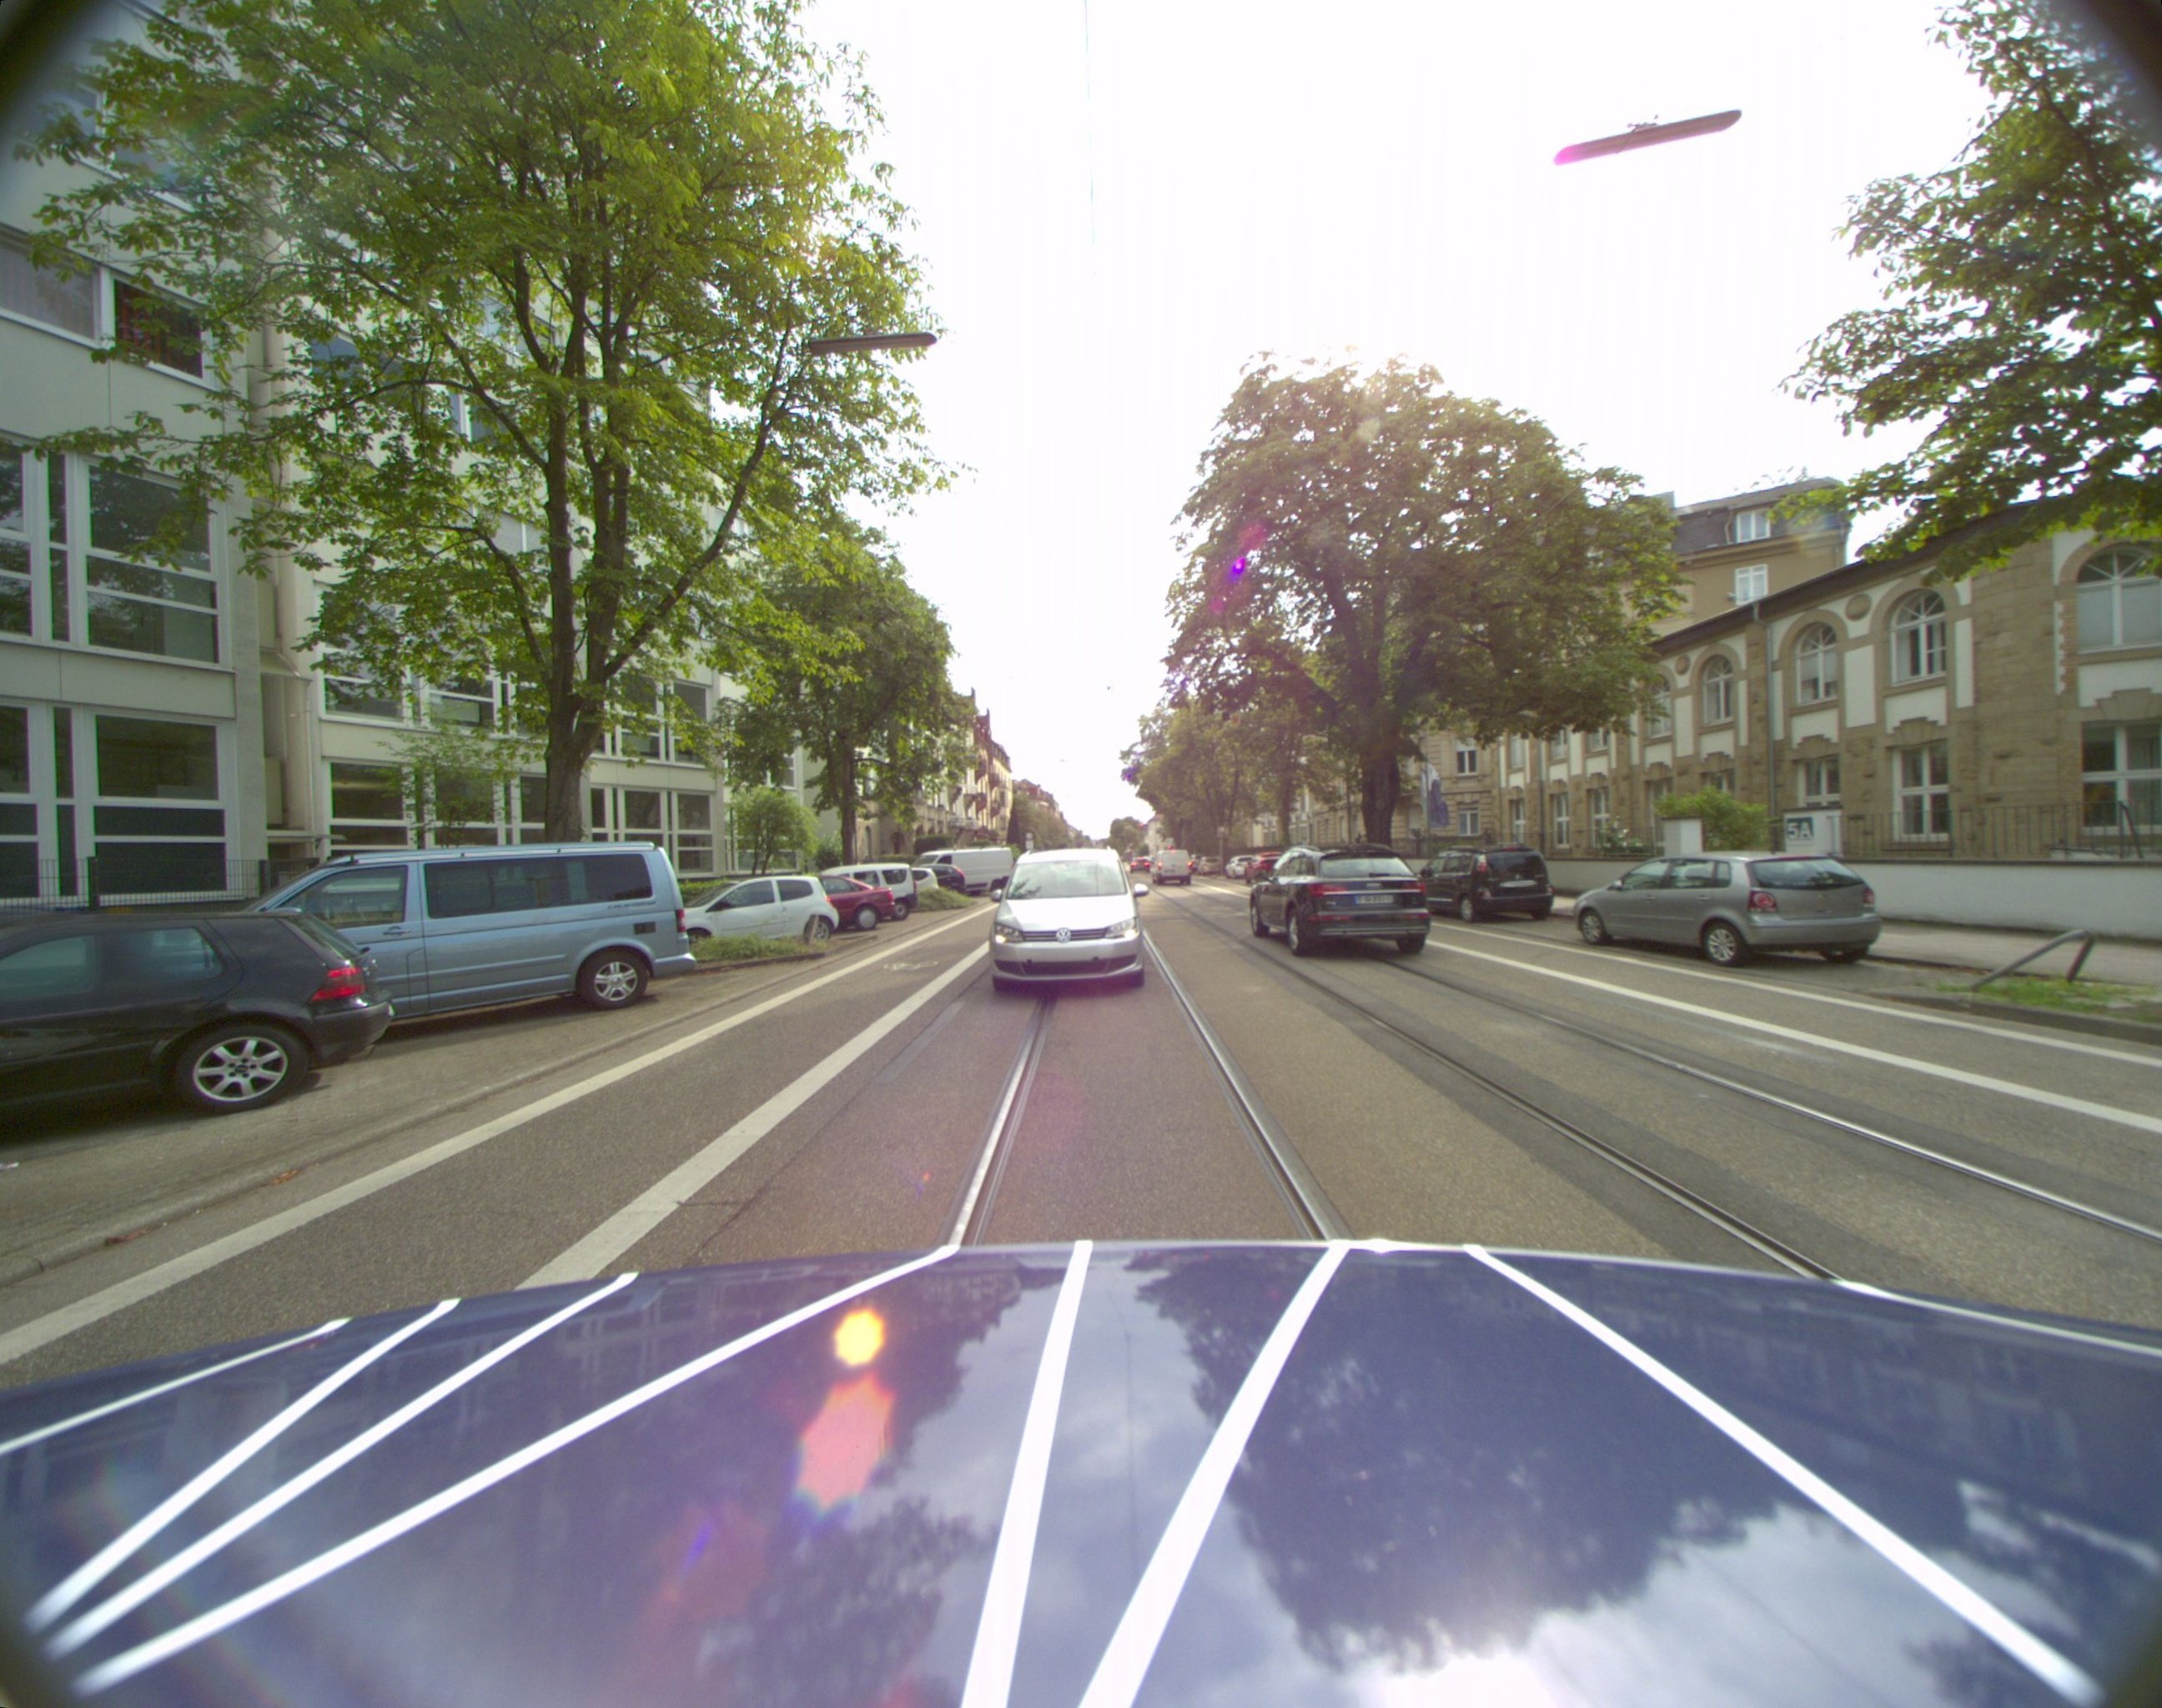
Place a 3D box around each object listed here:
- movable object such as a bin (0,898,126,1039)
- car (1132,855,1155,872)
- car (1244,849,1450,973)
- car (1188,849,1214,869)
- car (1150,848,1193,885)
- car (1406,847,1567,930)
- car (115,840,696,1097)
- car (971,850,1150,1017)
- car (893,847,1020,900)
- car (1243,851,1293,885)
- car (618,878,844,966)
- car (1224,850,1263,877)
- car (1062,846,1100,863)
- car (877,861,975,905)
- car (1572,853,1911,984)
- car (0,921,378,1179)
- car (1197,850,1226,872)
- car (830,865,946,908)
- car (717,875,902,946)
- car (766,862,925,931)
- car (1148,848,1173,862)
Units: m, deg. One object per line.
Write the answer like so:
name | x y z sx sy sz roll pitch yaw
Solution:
movable object such as a bin | -12.231 1.282 8.486 1.334 1.450 1.400 -2 0 5
car | 5.856 0.855 71.553 1.786 1.506 4.144 -2 0 1
car | 4.052 0.763 12.399 1.852 1.603 4.334 -2 0 1
car | 10.447 0.426 66.553 1.659 1.624 3.906 -2 0 1
car | 4.857 0.645 41.481 1.799 1.813 4.678 -2 0 1
car | 8.979 0.691 17.209 1.659 1.624 3.725 -2 0 1
car | -6.992 0.937 8.452 4.354 2.052 1.994 -2 0 -45
car | -0.183 0.836 10.298 1.816 1.691 4.617 -2 0 1
car | -5.726 0.828 35.488 5.449 2.163 2.142 -2 1 -40
car | 9.750 0.694 39.942 1.659 1.624 3.906 -2 0 1
car | -6.855 1.246 15.091 3.652 1.322 1.763 -3 1 -44
car | 10.361 0.587 48.701 1.659 1.592 3.906 -2 0 1
car | 0.016 0.120 124.510 5.923 2.585 2.002 -2 0 15
car | -6.484 1.175 31.808 3.649 1.580 1.764 -2 1 -25
car | 8.831 0.750 10.620 1.632 1.456 3.574 -2 0 1
car | -7.409 1.322 5.006 3.980 1.379 1.810 -3 -1 -44
car | 10.137 0.520 59.243 1.659 1.624 3.906 -2 0 1
car | -6.978 1.145 27.676 3.652 1.322 1.763 -3 1 -44
car | -6.511 1.286 18.390 3.777 1.331 1.809 -2 1 -40
car | -6.548 1.115 21.308 3.777 1.609 1.809 -2 1 -40
car | 13.061 0.153 124.823 3.996 2.002 2.000 -2 0 3
